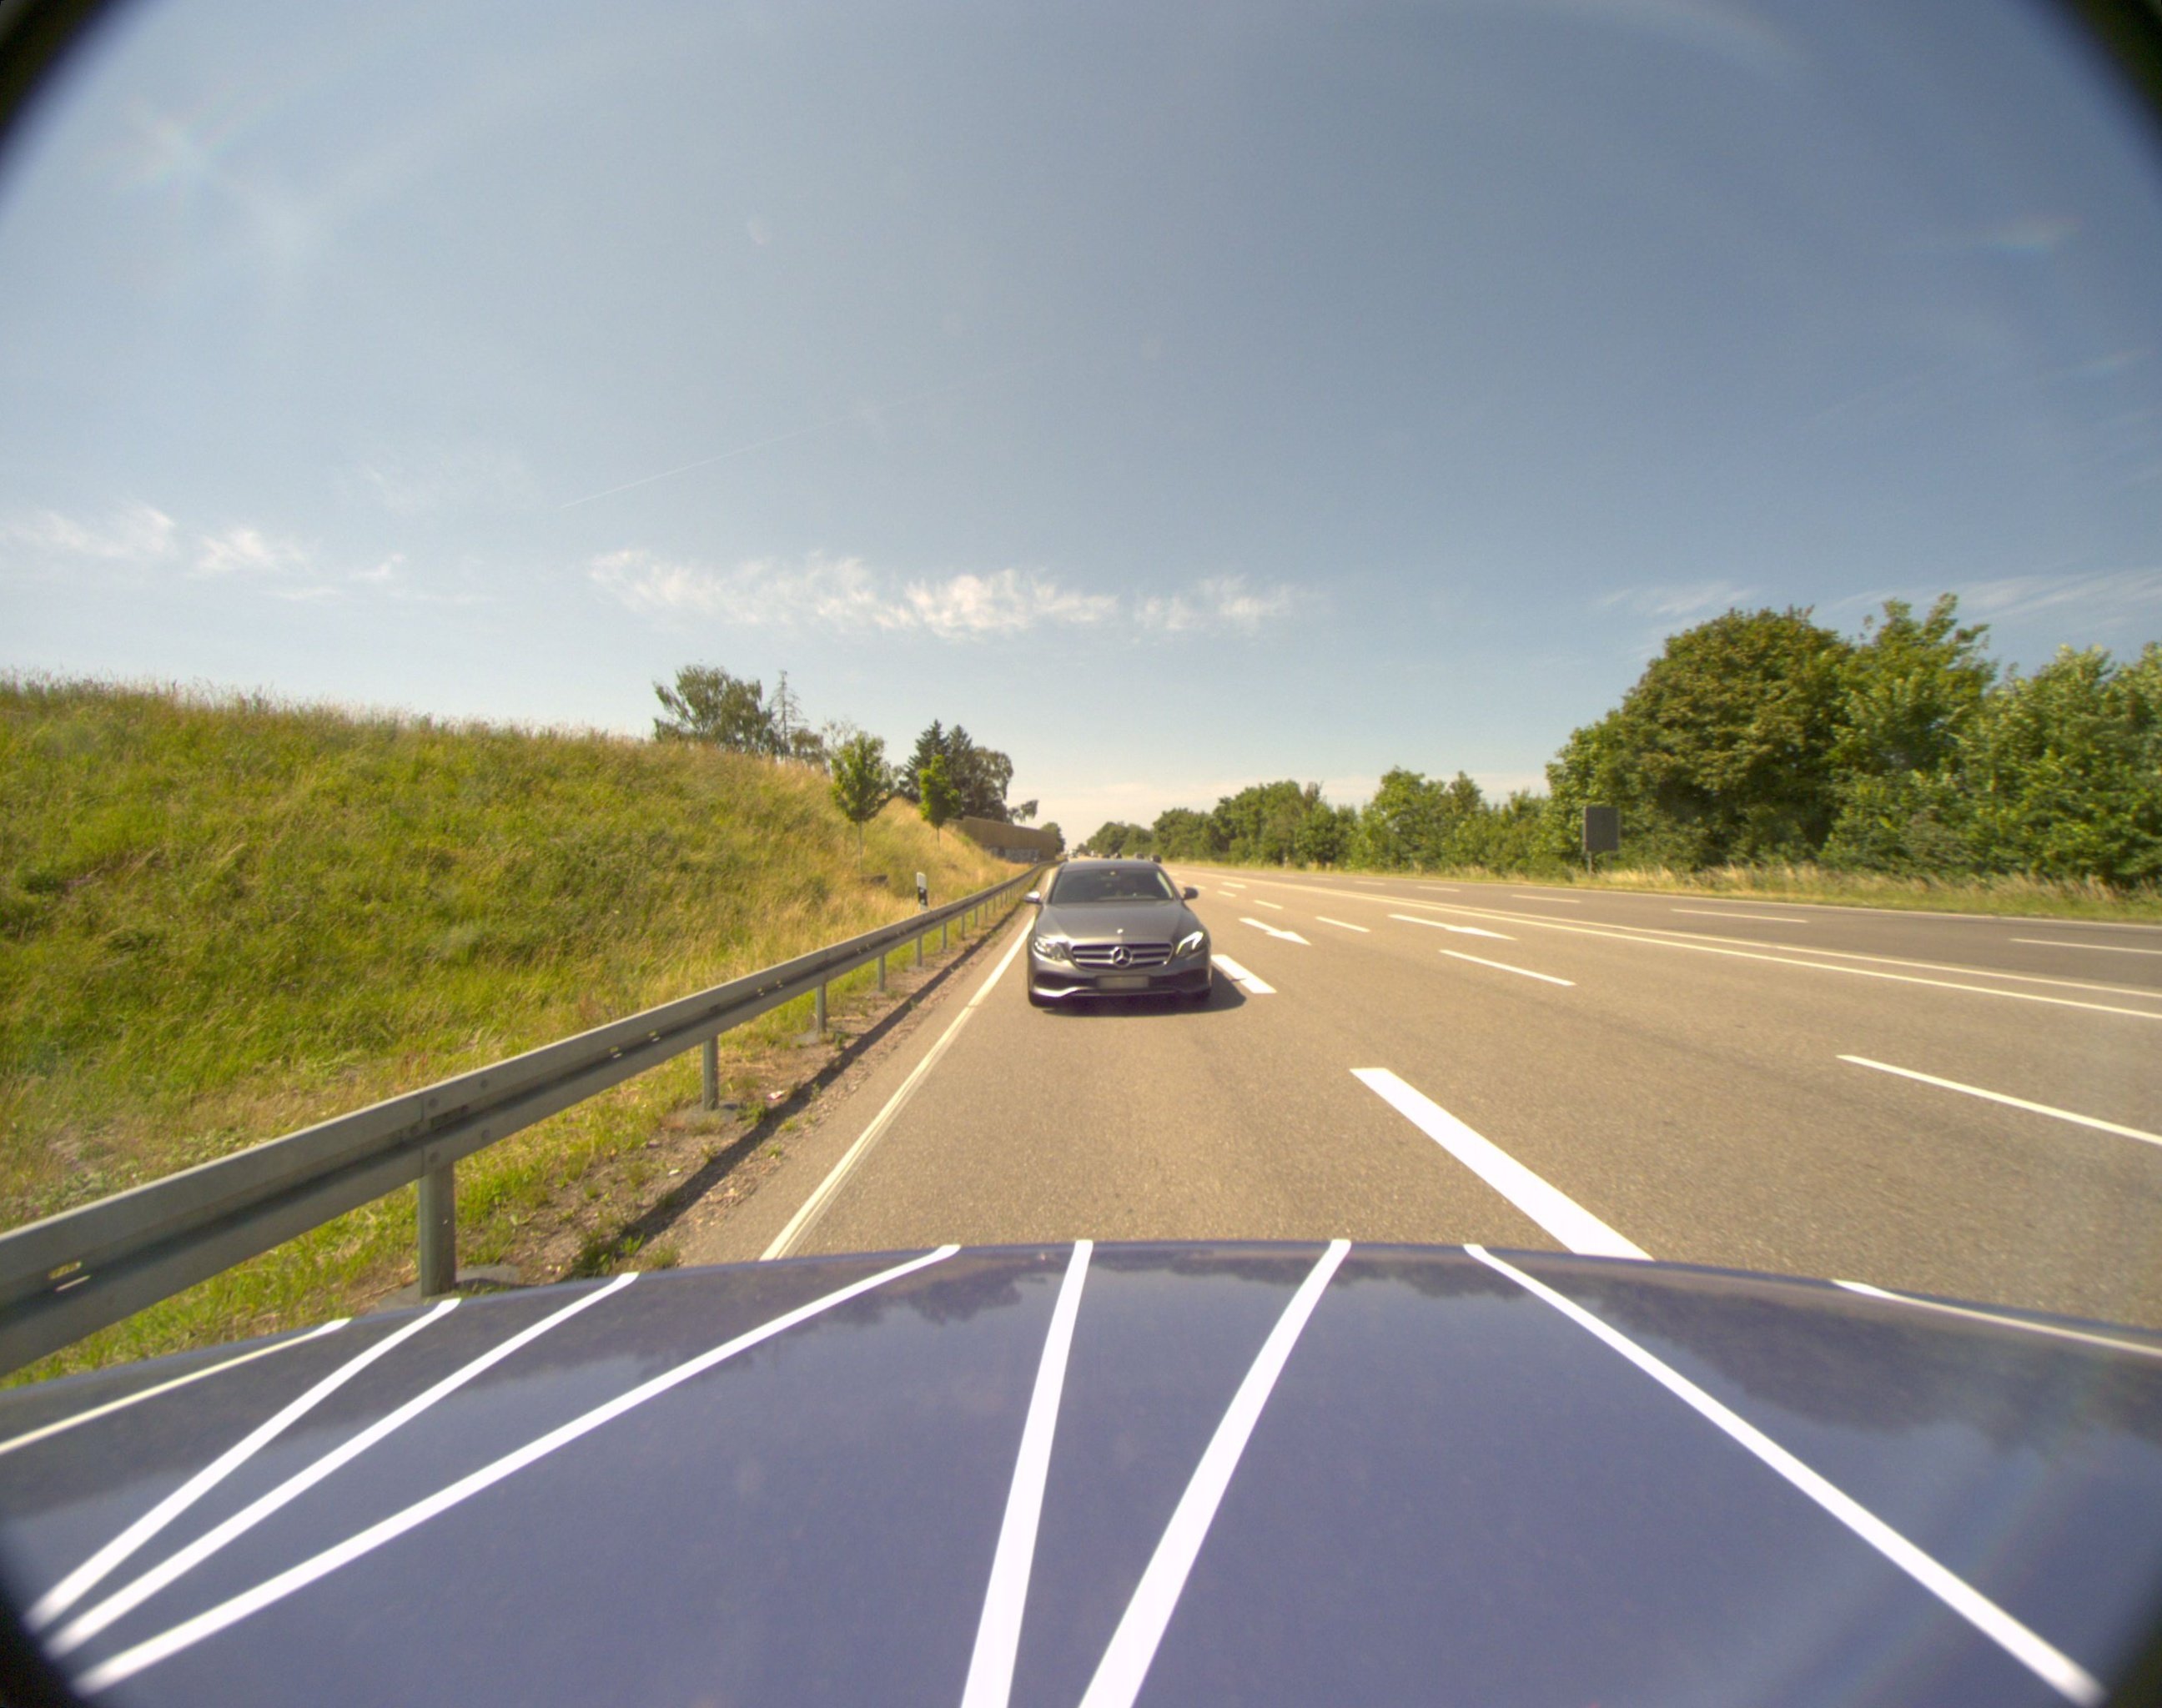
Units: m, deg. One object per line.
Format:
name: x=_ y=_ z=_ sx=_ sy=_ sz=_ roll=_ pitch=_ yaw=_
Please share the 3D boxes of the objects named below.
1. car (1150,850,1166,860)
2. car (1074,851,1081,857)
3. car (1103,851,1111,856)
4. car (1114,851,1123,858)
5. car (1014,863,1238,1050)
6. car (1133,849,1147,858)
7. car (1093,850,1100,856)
car: x=12.104 y=0.168 z=119.221 sx=1.883 sy=1.390 sz=4.529 roll=-1 pitch=1 yaw=-2
car: x=-1.028 y=0.020 z=216.491 sx=1.801 sy=1.674 sz=3.999 roll=-2 pitch=1 yaw=0
car: x=7.218 y=-0.108 z=207.572 sx=1.810 sy=1.272 sz=4.764 roll=-1 pitch=1 yaw=-2
car: x=8.406 y=0.080 z=171.488 sx=1.649 sy=1.479 sz=3.557 roll=-2 pitch=1 yaw=-2
car: x=0.306 y=0.898 z=8.753 sx=1.894 sy=1.439 sz=4.524 roll=-1 pitch=1 yaw=-2
car: x=11.500 y=-0.165 z=148.122 sx=2.033 sy=1.630 sz=4.567 roll=-2 pitch=1 yaw=-2
car: x=4.872 y=-0.385 z=235.990 sx=1.910 sy=1.906 sz=5.050 roll=0 pitch=0 yaw=0
